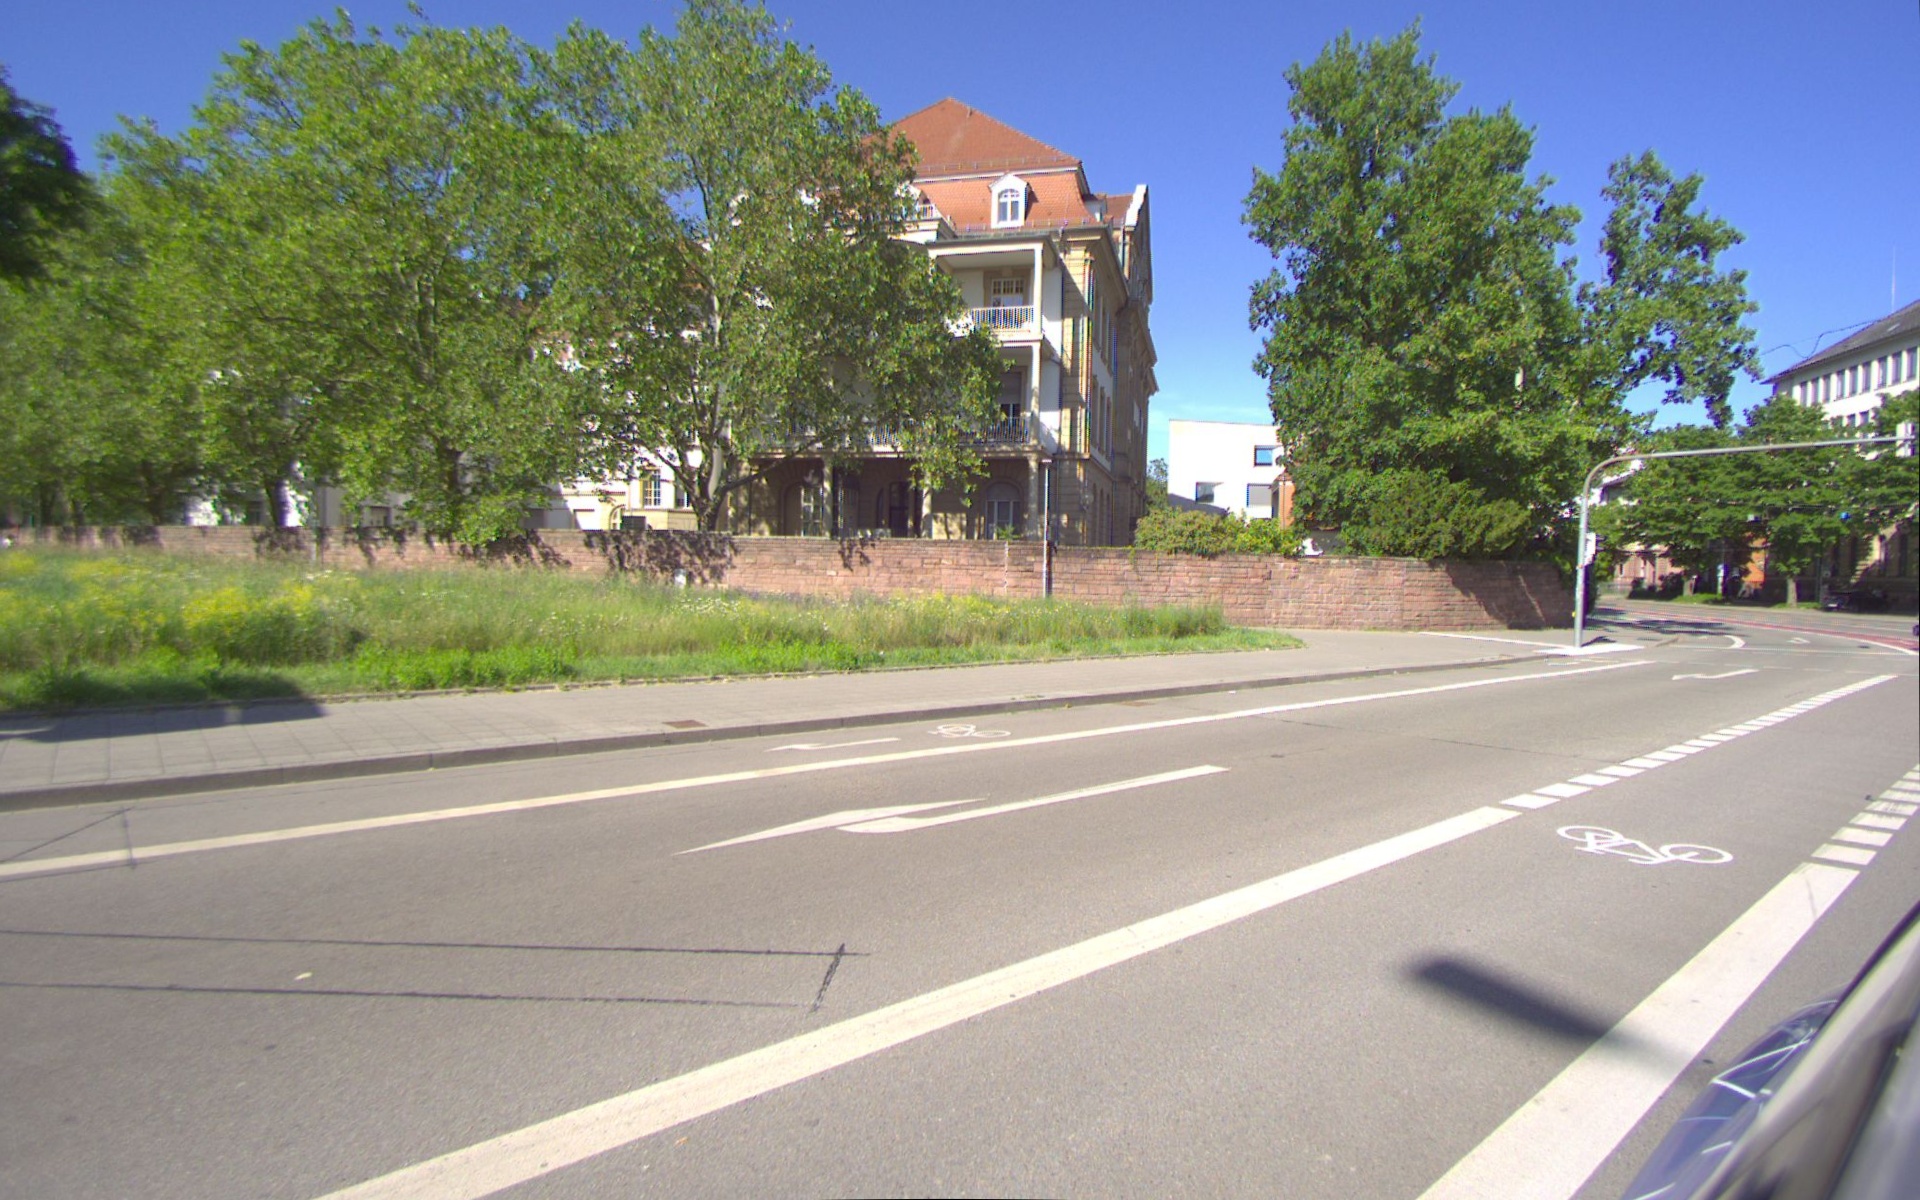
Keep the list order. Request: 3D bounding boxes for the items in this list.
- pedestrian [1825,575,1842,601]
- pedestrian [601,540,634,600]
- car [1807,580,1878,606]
[{"bbox_3d":[64.639,-0.907,74.869,0.568,1.927,0.781,1,1,12],"label":"pedestrian"},{"bbox_3d":[-10.984,-0.965,32.471,0.778,1.881,0.626,2,1,21],"label":"pedestrian"},{"bbox_3d":[60.100,-0.519,69.029,1.806,1.615,3.988,2,2,11],"label":"car"}]
